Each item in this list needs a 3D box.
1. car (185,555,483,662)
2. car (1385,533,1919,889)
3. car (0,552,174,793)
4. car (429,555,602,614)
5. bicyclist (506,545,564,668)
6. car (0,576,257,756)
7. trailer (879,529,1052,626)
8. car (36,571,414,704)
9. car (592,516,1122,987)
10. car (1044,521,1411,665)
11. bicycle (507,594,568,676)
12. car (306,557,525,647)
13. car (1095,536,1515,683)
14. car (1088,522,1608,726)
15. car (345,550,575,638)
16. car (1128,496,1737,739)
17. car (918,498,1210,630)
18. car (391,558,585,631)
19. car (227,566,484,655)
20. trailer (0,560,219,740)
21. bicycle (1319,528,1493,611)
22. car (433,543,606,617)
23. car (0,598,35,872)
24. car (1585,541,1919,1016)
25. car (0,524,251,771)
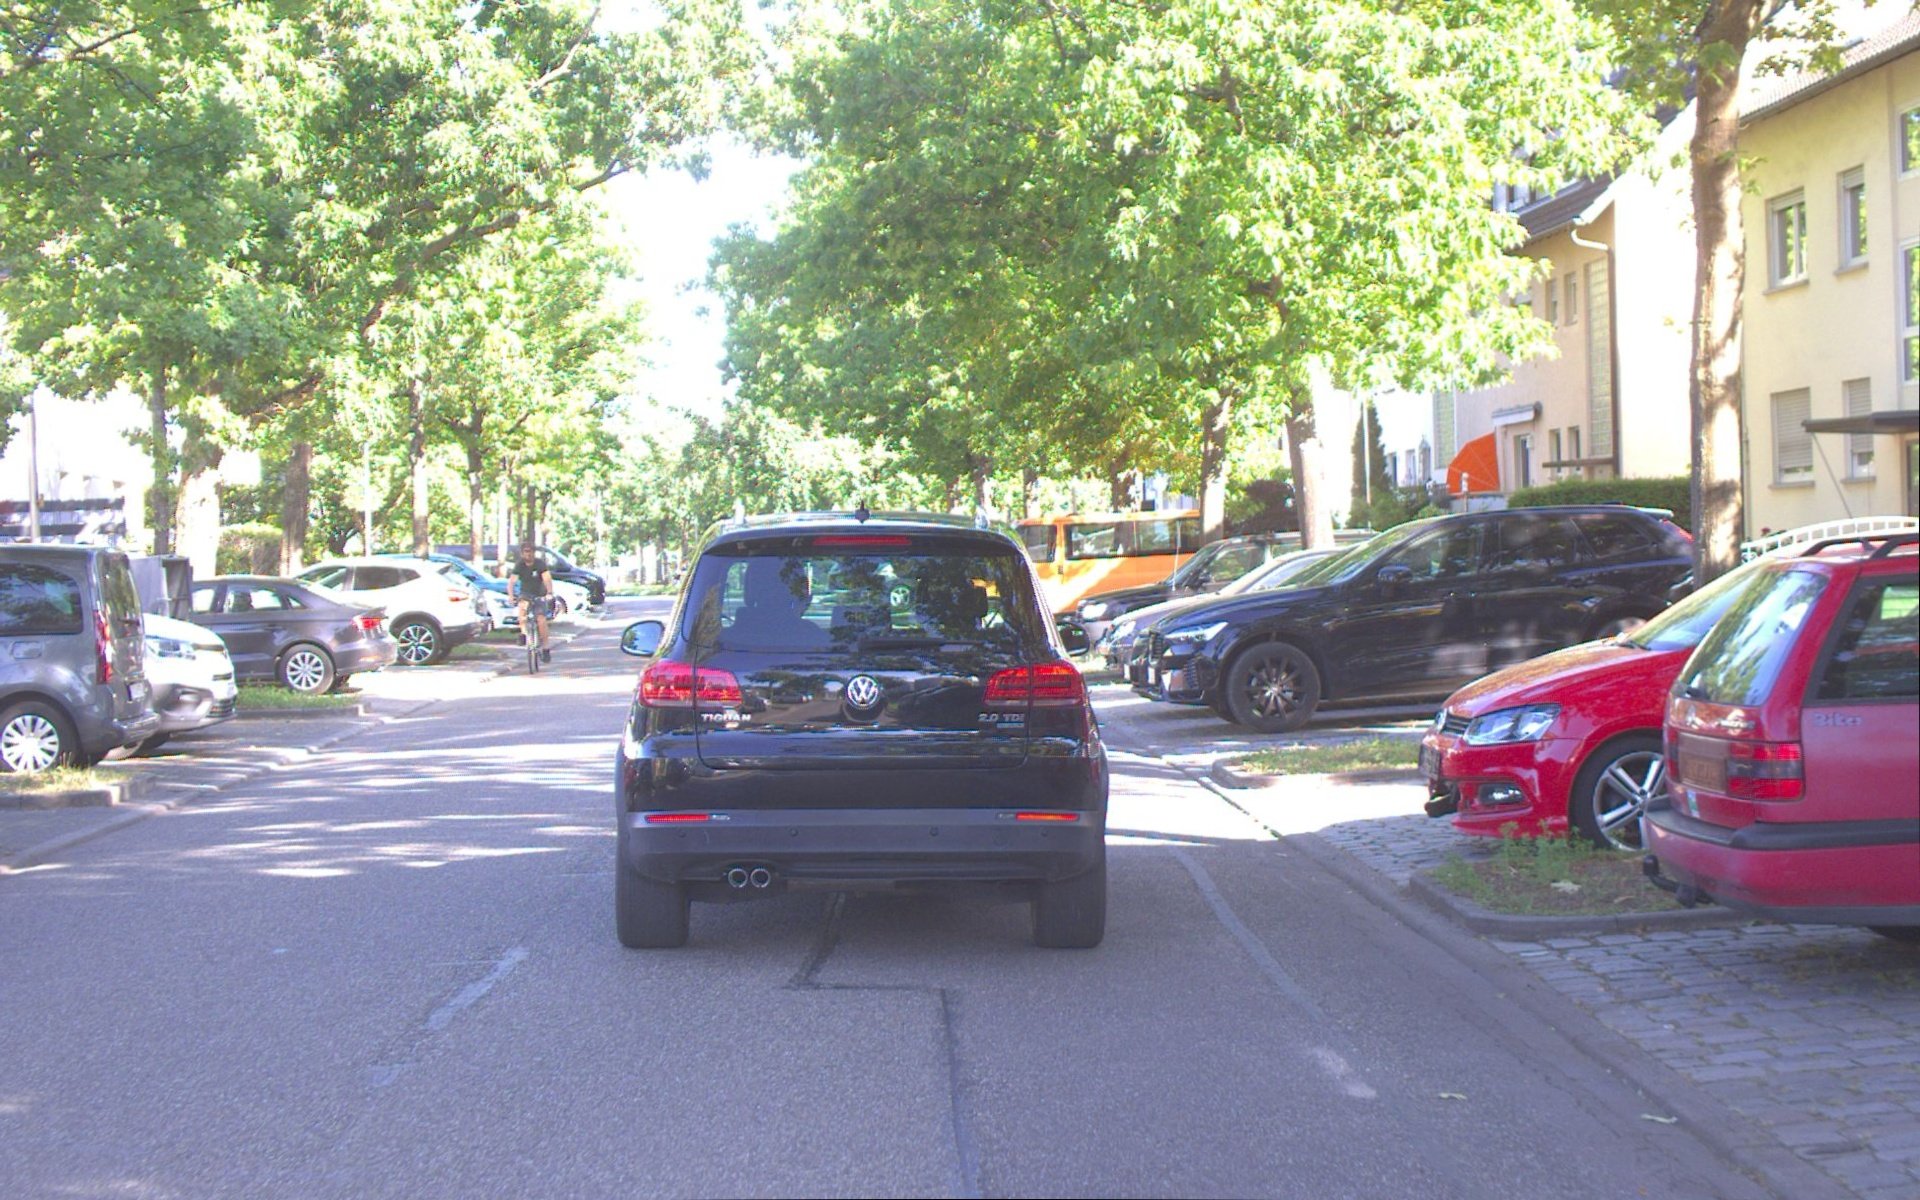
[{"bbox_3d":[-9.362,0.110,51.651,4.187,1.561,1.792,0,1,-1],"label":"car"},{"bbox_3d":[4.060,0.457,16.305,3.777,1.479,1.755,-3,0,-1],"label":"car"},{"bbox_3d":[-8.275,0.521,26.184,4.237,1.764,1.968,0,1,-5],"label":"car"},{"bbox_3d":[-11.332,-0.405,87.835,4.275,1.473,1.769,0,1,-4],"label":"car"},{"bbox_3d":[-5.947,0.082,48.132,0.596,1.668,0.975,-4,1,-2],"label":"bicyclist"},{"bbox_3d":[-8.543,0.609,31.186,3.986,1.511,1.691,-2,1,-3],"label":"car"},{"bbox_3d":[0.087,-0.421,63.840,2.945,1.658,1.615,-2,1,-9],"label":"trailer"},{"bbox_3d":[-8.772,0.436,41.278,4.210,1.466,1.691,-1,1,-3],"label":"car"},{"bbox_3d":[-0.408,0.506,13.990,1.838,1.631,3.958,0,1,-1],"label":"car"},{"bbox_3d":[3.346,-0.101,43.550,4.337,1.555,1.868,-3,1,-4],"label":"car"},{"bbox_3d":[-5.919,0.483,48.223,0.596,1.055,1.986,-4,1,-2],"label":"bicycle"},{"bbox_3d":[-10.542,0.039,66.777,3.986,1.590,1.858,-2,0,-3],"label":"car"},{"bbox_3d":[3.798,0.093,38.324,4.427,1.327,1.691,-4,1,-1],"label":"car"},{"bbox_3d":[3.426,0.185,30.888,4.319,1.524,1.841,-3,1,-3],"label":"car"},{"bbox_3d":[-10.332,-0.134,71.314,4.523,1.625,1.938,-2,1,-3],"label":"car"},{"bbox_3d":[3.776,0.124,28.002,4.573,1.641,1.838,-3,1,-2],"label":"car"},{"bbox_3d":[1.764,-0.624,59.464,4.818,2.076,2.086,-2,1,-3],"label":"car"},{"bbox_3d":[-10.652,-0.139,77.839,4.182,1.487,1.647,-2,1,-3],"label":"car"},{"bbox_3d":[-9.981,0.163,57.020,4.033,1.418,1.810,0,1,-4],"label":"car"},{"bbox_3d":[-8.624,0.485,33.919,2.236,1.668,1.474,-2,1,1],"label":"trailer"},{"bbox_3d":[7.661,-0.524,59.063,2.858,1.233,0.468,-4,0,-2],"label":"bicycle"},{"bbox_3d":[-12.537,-0.569,98.071,4.778,1.910,2.019,-2,1,-6],"label":"car"},{"bbox_3d":[-7.534,0.821,18.793,4.476,1.494,1.837,-2,1,-4],"label":"car"},{"bbox_3d":[4.594,0.444,11.704,4.502,1.441,1.838,-3,0,-1],"label":"car"},{"bbox_3d":[-8.225,0.415,28.745,4.235,1.937,2.000,-2,1,-5],"label":"car"}]
